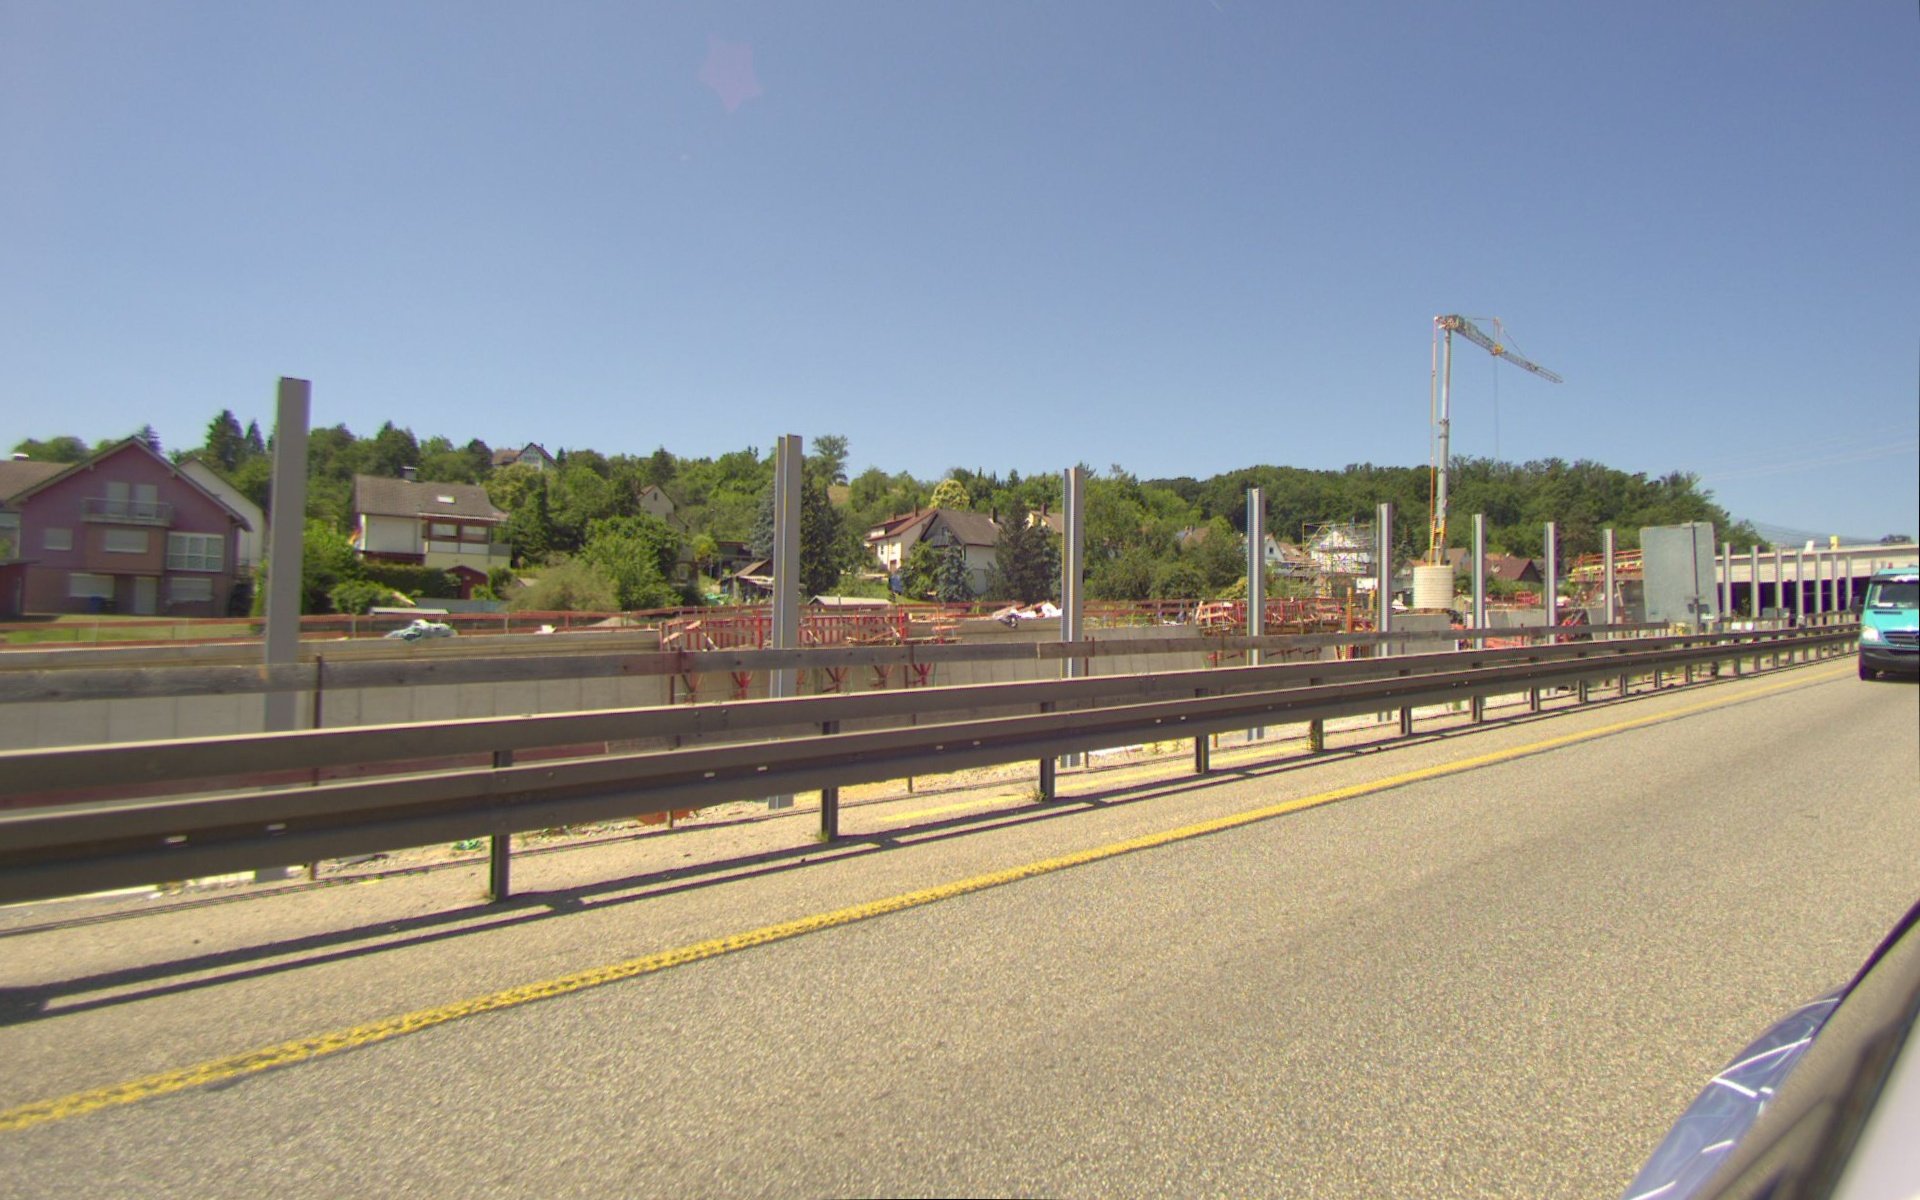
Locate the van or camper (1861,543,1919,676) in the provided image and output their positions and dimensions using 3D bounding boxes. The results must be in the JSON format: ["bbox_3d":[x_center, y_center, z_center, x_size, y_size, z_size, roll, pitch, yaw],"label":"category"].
[{"bbox_3d":[21.098,0.176,21.435,7.537,2.504,2.096,0,0,-41],"label":"van or camper"}]
